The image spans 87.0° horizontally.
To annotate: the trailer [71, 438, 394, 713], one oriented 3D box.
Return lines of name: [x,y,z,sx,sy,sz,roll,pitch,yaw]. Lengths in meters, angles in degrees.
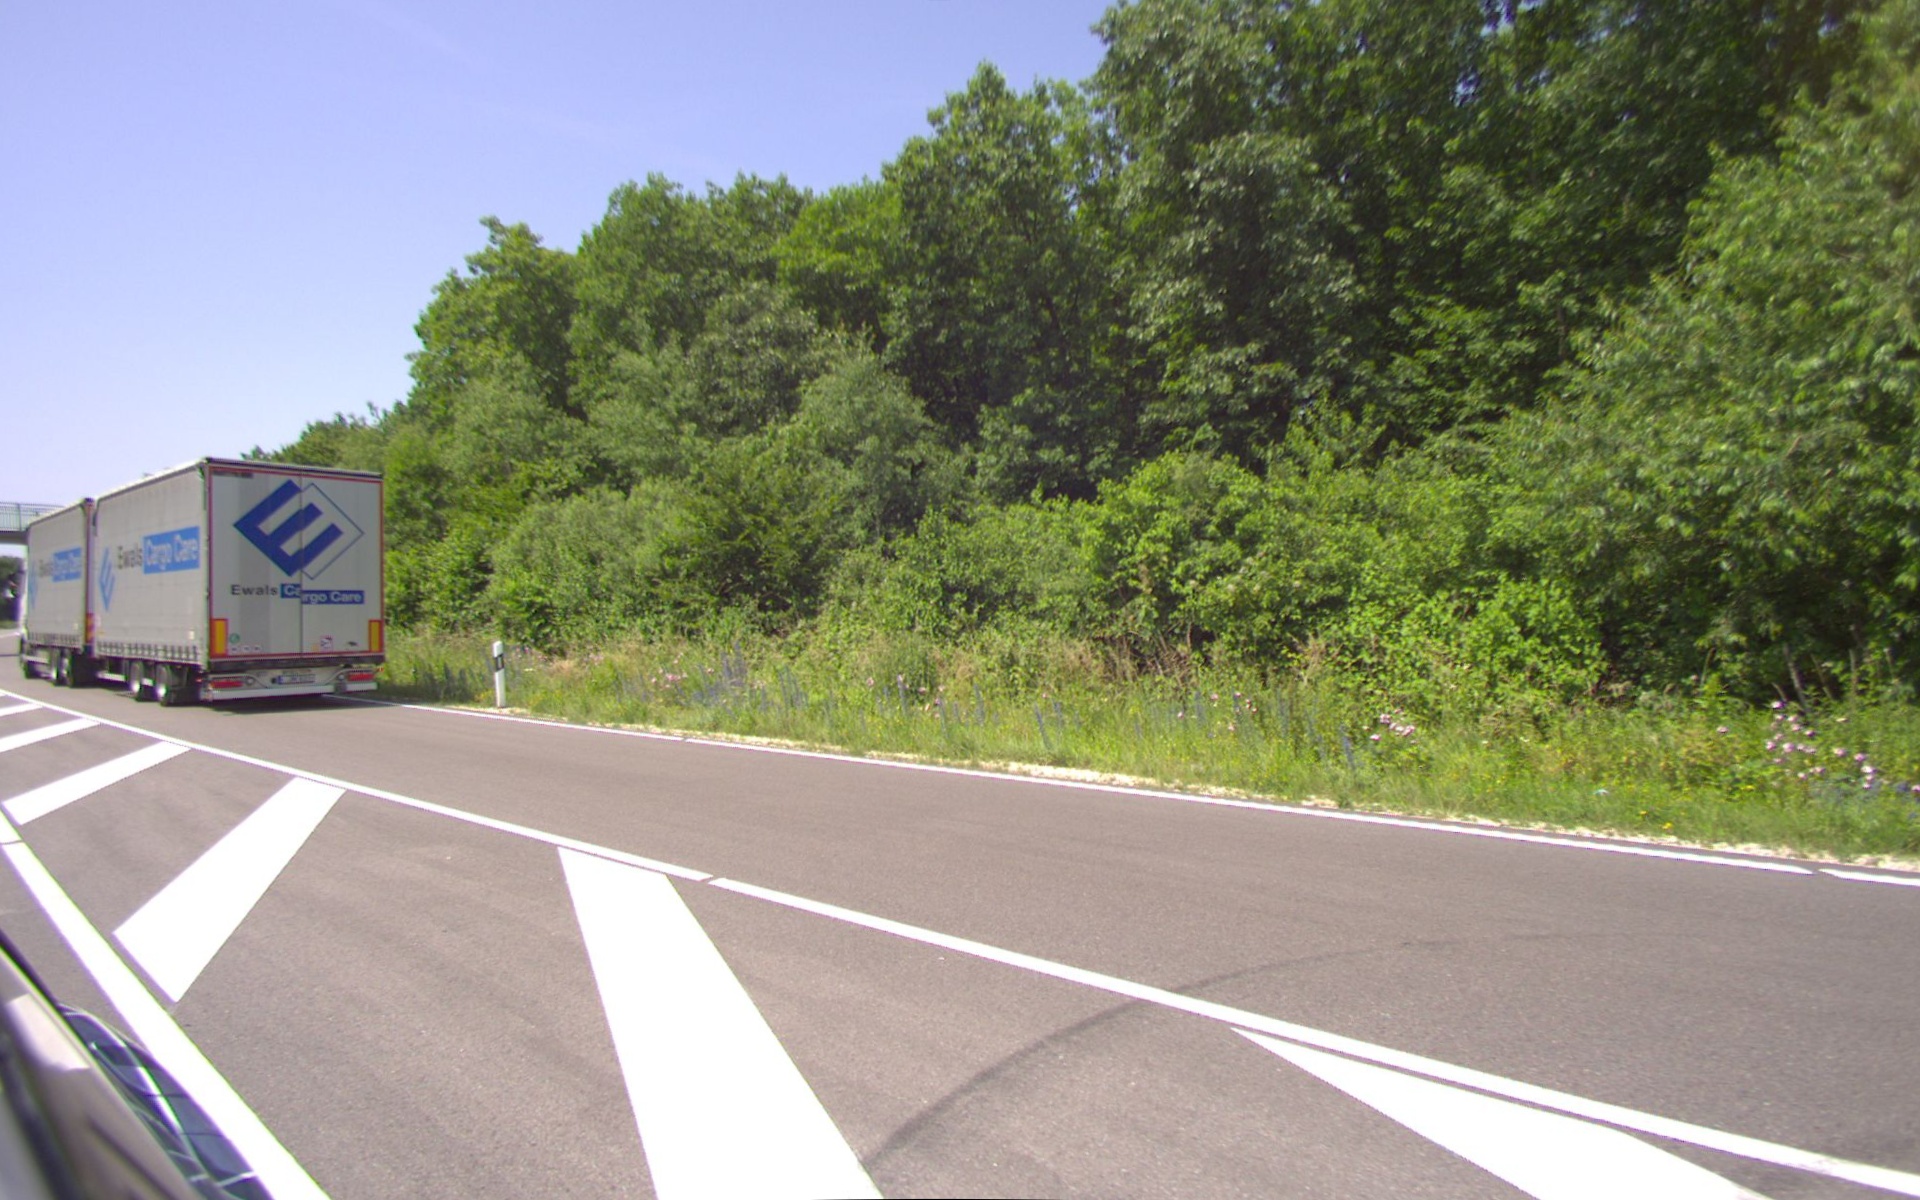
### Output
trailer: [-14.069,-0.276,19.155,8.993,4.127,2.800,-2,-1,40]

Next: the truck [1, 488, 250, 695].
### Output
truck: [-20.770,-0.065,24.821,11.054,4.127,2.770,-2,-1,40]
